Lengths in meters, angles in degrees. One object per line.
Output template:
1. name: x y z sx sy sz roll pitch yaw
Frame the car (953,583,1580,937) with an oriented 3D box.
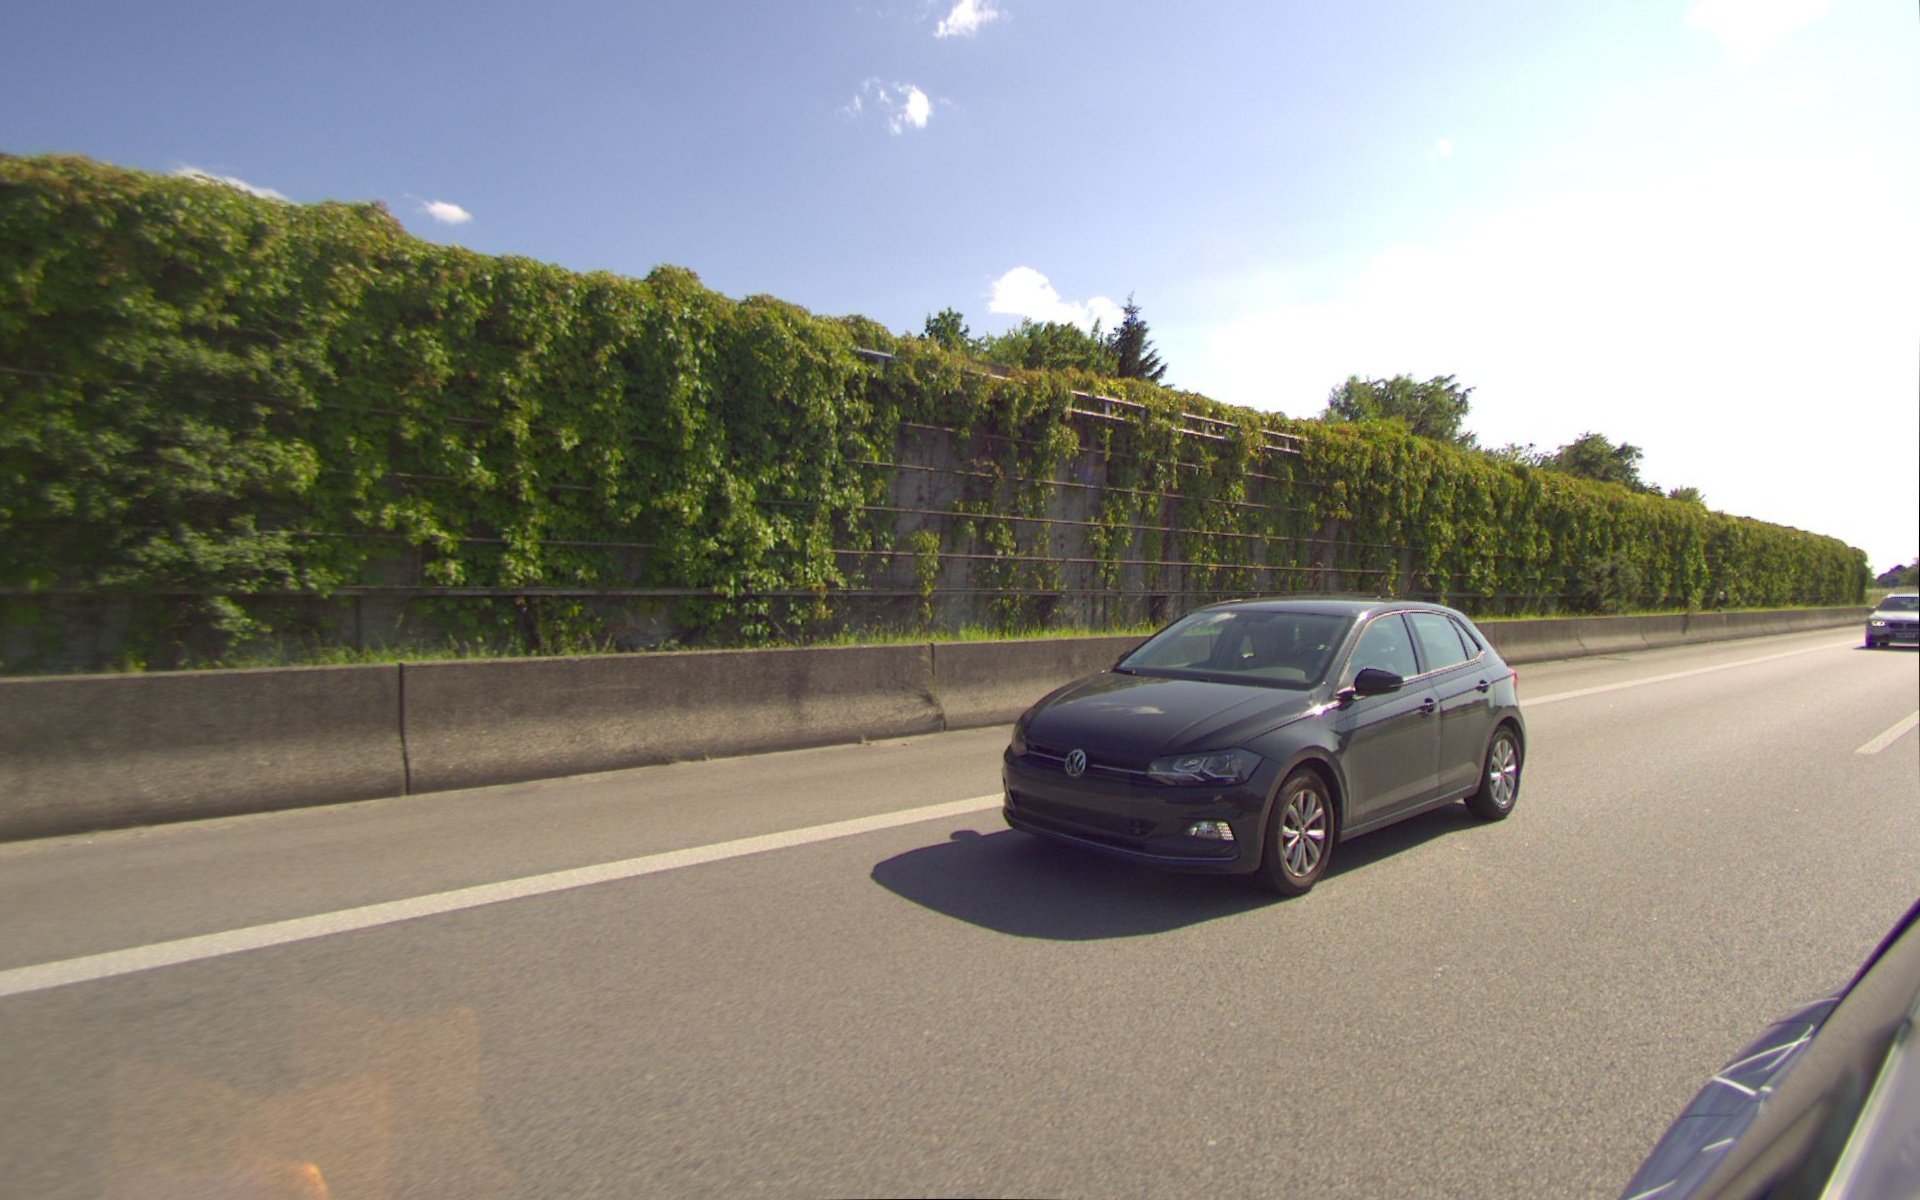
1. car: 2.178 0.646 6.340 4.465 1.472 1.668 0 1 -41

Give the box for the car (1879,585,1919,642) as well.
1. car: 27.791 0.401 28.968 4.900 1.514 1.687 1 1 -42
